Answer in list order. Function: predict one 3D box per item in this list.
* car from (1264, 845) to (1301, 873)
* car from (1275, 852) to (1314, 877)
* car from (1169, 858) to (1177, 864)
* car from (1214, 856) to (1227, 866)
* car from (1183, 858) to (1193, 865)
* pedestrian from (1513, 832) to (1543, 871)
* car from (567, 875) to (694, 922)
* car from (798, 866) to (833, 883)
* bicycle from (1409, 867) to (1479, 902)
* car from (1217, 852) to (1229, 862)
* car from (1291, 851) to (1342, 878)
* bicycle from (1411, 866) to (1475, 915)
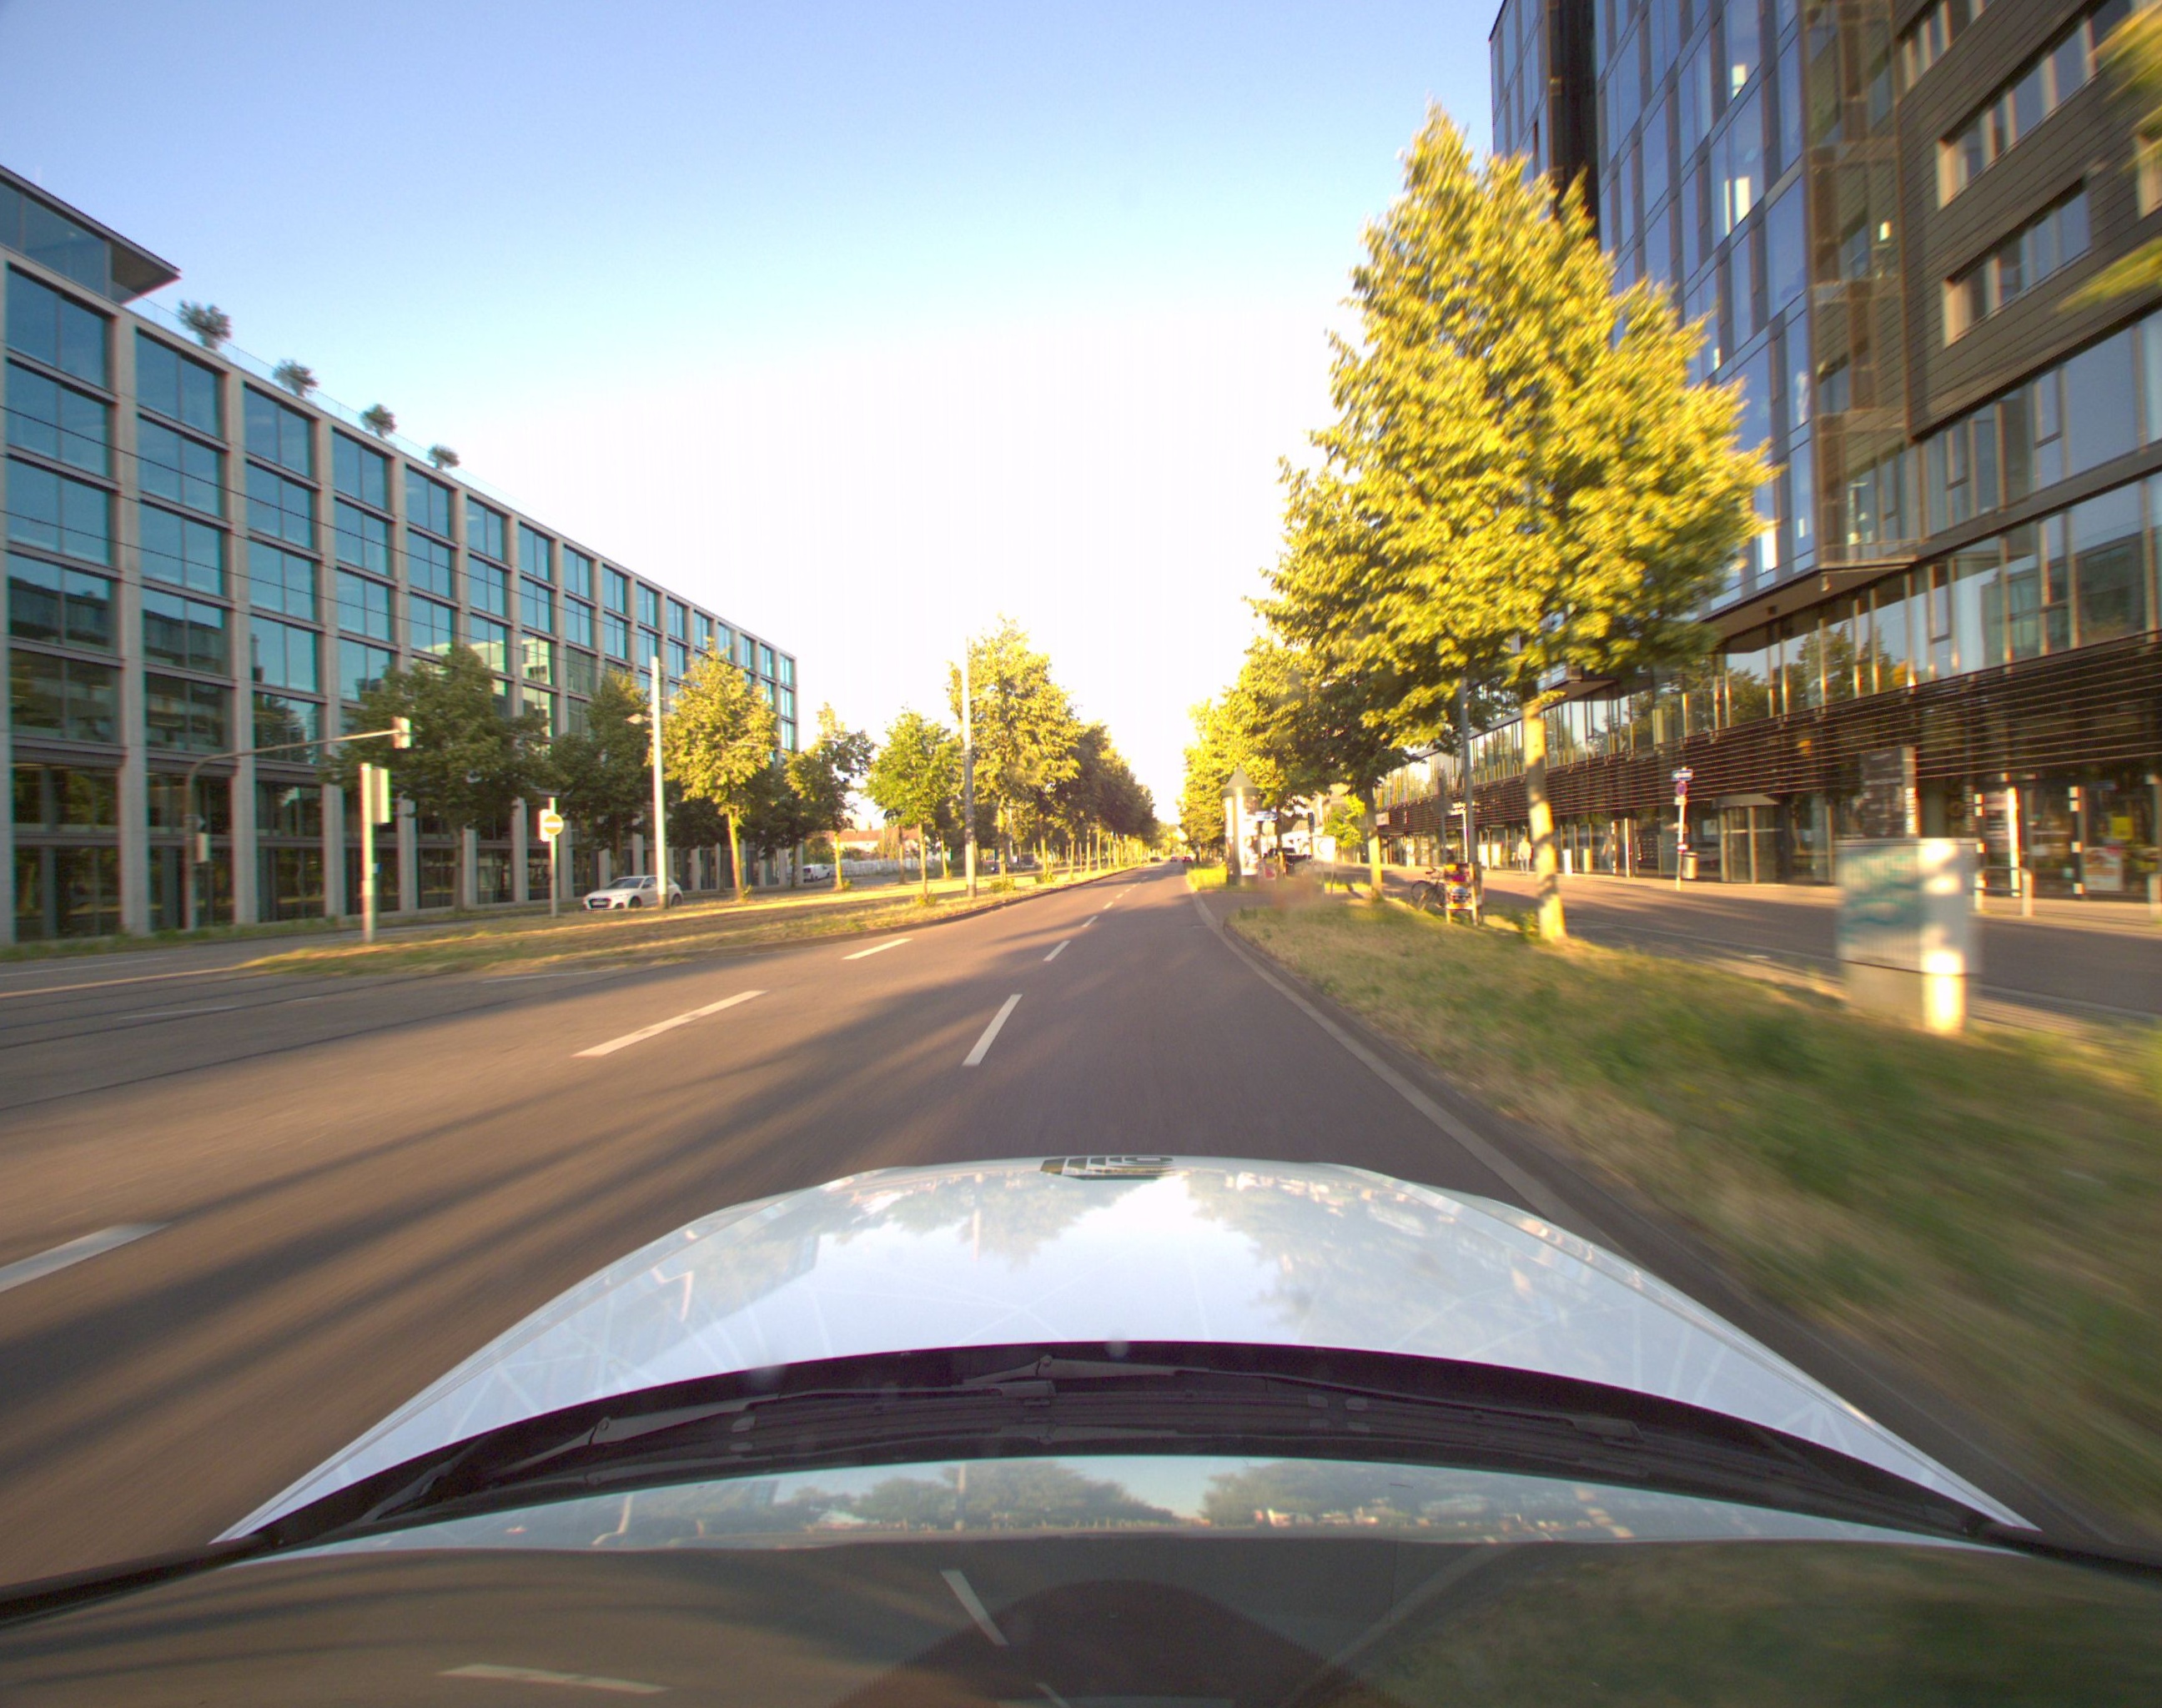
[{"bbox_3d":[14.919,0.389,60.455,1.976,1.989,4.940,-1,-1,6],"label":"car"},{"bbox_3d":[13.873,0.683,53.092,1.849,1.496,4.299,-2,0,7],"label":"car"},{"bbox_3d":[23.760,1.837,209.697,1.902,1.486,4.007,-2,-1,6],"label":"car"},{"bbox_3d":[26.871,1.410,157.323,1.984,1.852,4.671,-2,-1,5],"label":"car"},{"bbox_3d":[21.393,1.512,163.411,1.902,1.486,4.007,-1,-1,6],"label":"car"},{"bbox_3d":[20.967,-0.106,38.178,0.892,1.797,0.914,-2,-1,5],"label":"pedestrian"},{"bbox_3d":[-16.917,1.630,30.894,1.893,1.485,4.637,-2,0,5],"label":"car"},{"bbox_3d":[-33.613,2.582,103.200,2.194,2.014,5.094,-2,-1,7],"label":"car"},{"bbox_3d":[10.010,0.836,22.489,1.701,0.910,0.364,-2,0,40],"label":"bicycle"},{"bbox_3d":[25.248,0.568,144.764,1.982,1.642,4.888,-2,-1,8],"label":"car"},{"bbox_3d":[13.508,0.594,47.021,1.908,1.496,5.048,-1,-1,5],"label":"car"},{"bbox_3d":[7.891,0.766,17.814,0.577,0.995,1.686,-2,-1,-1],"label":"bicycle"}]
